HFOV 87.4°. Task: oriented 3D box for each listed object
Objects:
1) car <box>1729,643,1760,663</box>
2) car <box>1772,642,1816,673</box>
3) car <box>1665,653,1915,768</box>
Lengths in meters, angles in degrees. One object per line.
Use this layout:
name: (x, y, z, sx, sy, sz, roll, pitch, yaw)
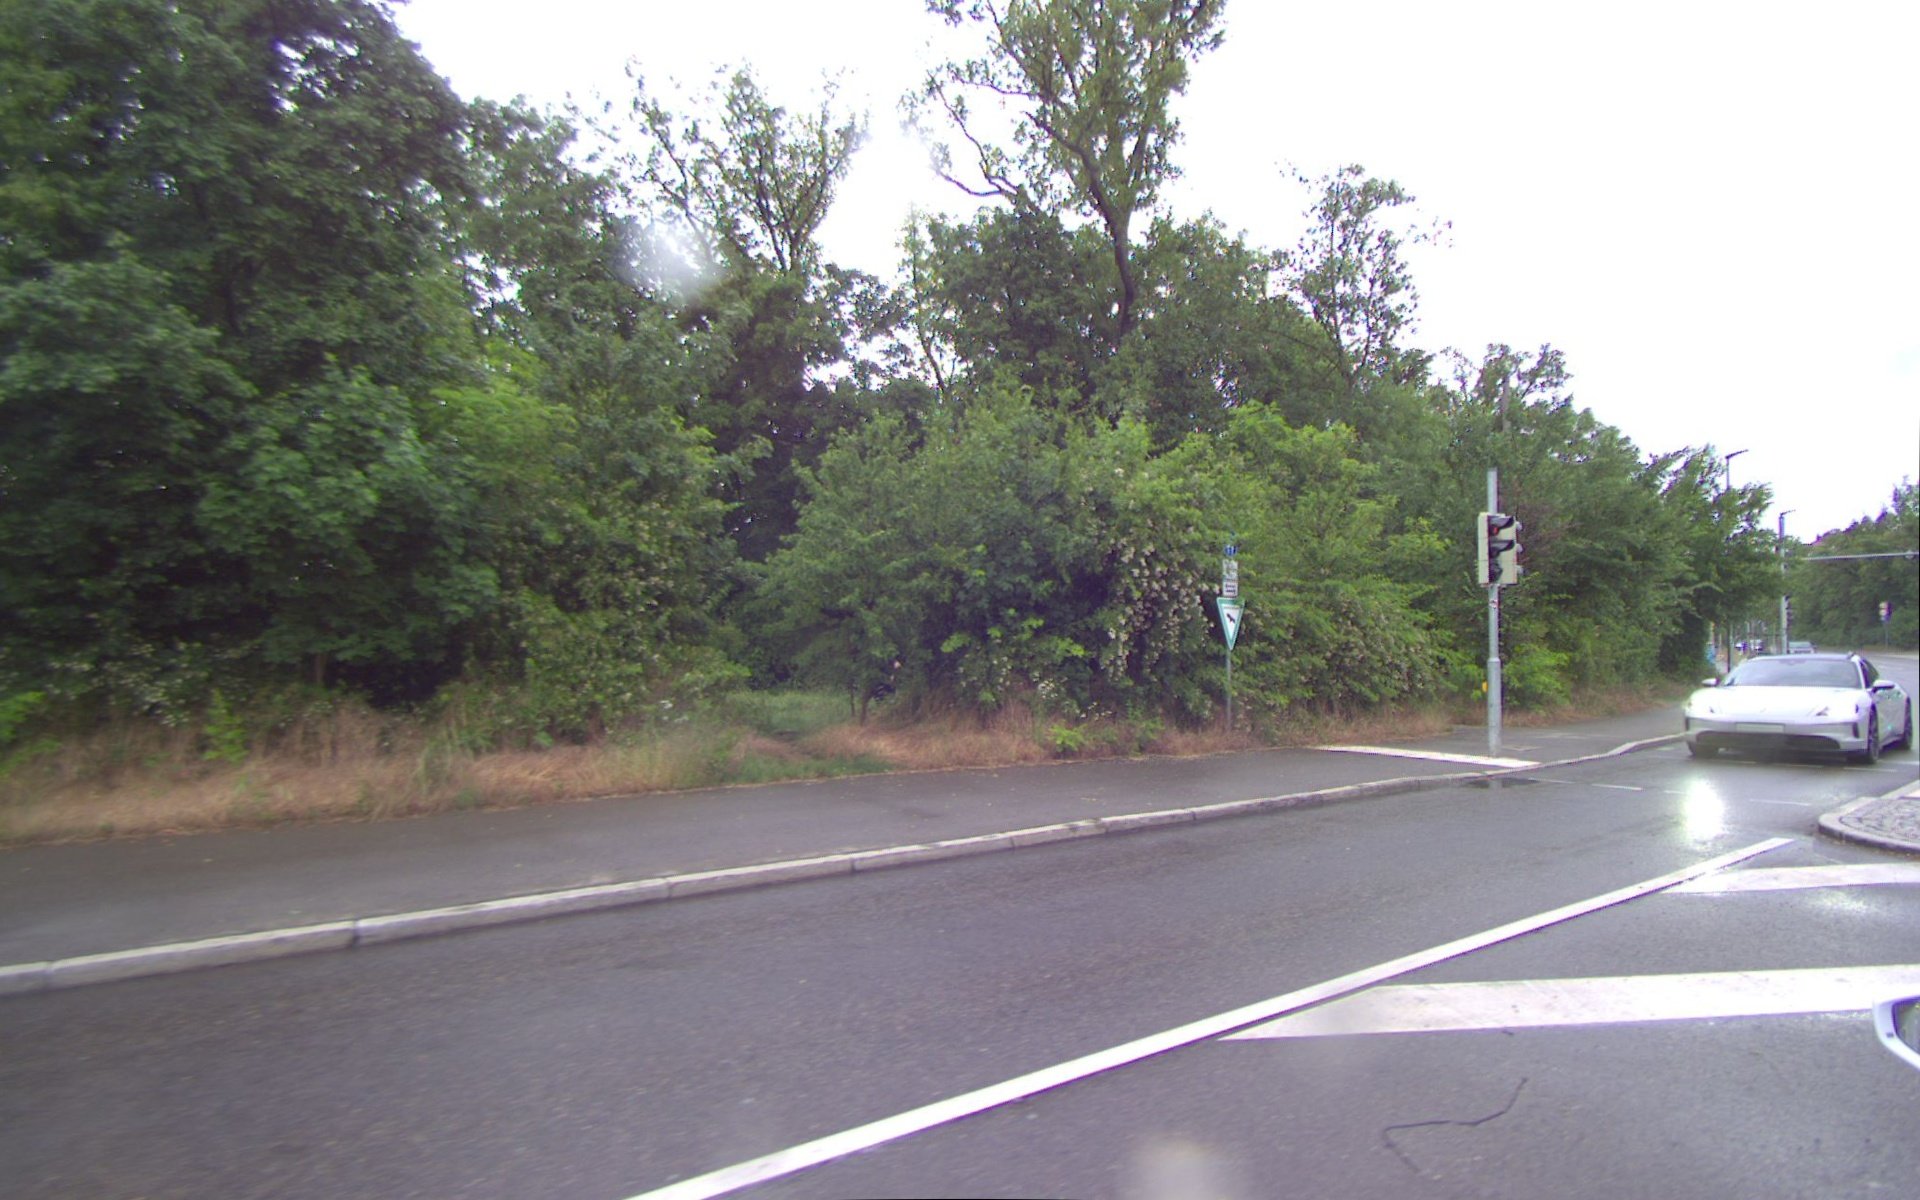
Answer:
car: (69.366, 4.669, 88.826, 1.970, 1.606, 3.981, 1, -2, 40)
car: (58.771, 4.041, 70.832, 1.966, 2.040, 3.989, 1, -2, 34)
car: (11.842, 1.464, 14.238, 4.324, 1.328, 1.977, 2, -5, -40)
